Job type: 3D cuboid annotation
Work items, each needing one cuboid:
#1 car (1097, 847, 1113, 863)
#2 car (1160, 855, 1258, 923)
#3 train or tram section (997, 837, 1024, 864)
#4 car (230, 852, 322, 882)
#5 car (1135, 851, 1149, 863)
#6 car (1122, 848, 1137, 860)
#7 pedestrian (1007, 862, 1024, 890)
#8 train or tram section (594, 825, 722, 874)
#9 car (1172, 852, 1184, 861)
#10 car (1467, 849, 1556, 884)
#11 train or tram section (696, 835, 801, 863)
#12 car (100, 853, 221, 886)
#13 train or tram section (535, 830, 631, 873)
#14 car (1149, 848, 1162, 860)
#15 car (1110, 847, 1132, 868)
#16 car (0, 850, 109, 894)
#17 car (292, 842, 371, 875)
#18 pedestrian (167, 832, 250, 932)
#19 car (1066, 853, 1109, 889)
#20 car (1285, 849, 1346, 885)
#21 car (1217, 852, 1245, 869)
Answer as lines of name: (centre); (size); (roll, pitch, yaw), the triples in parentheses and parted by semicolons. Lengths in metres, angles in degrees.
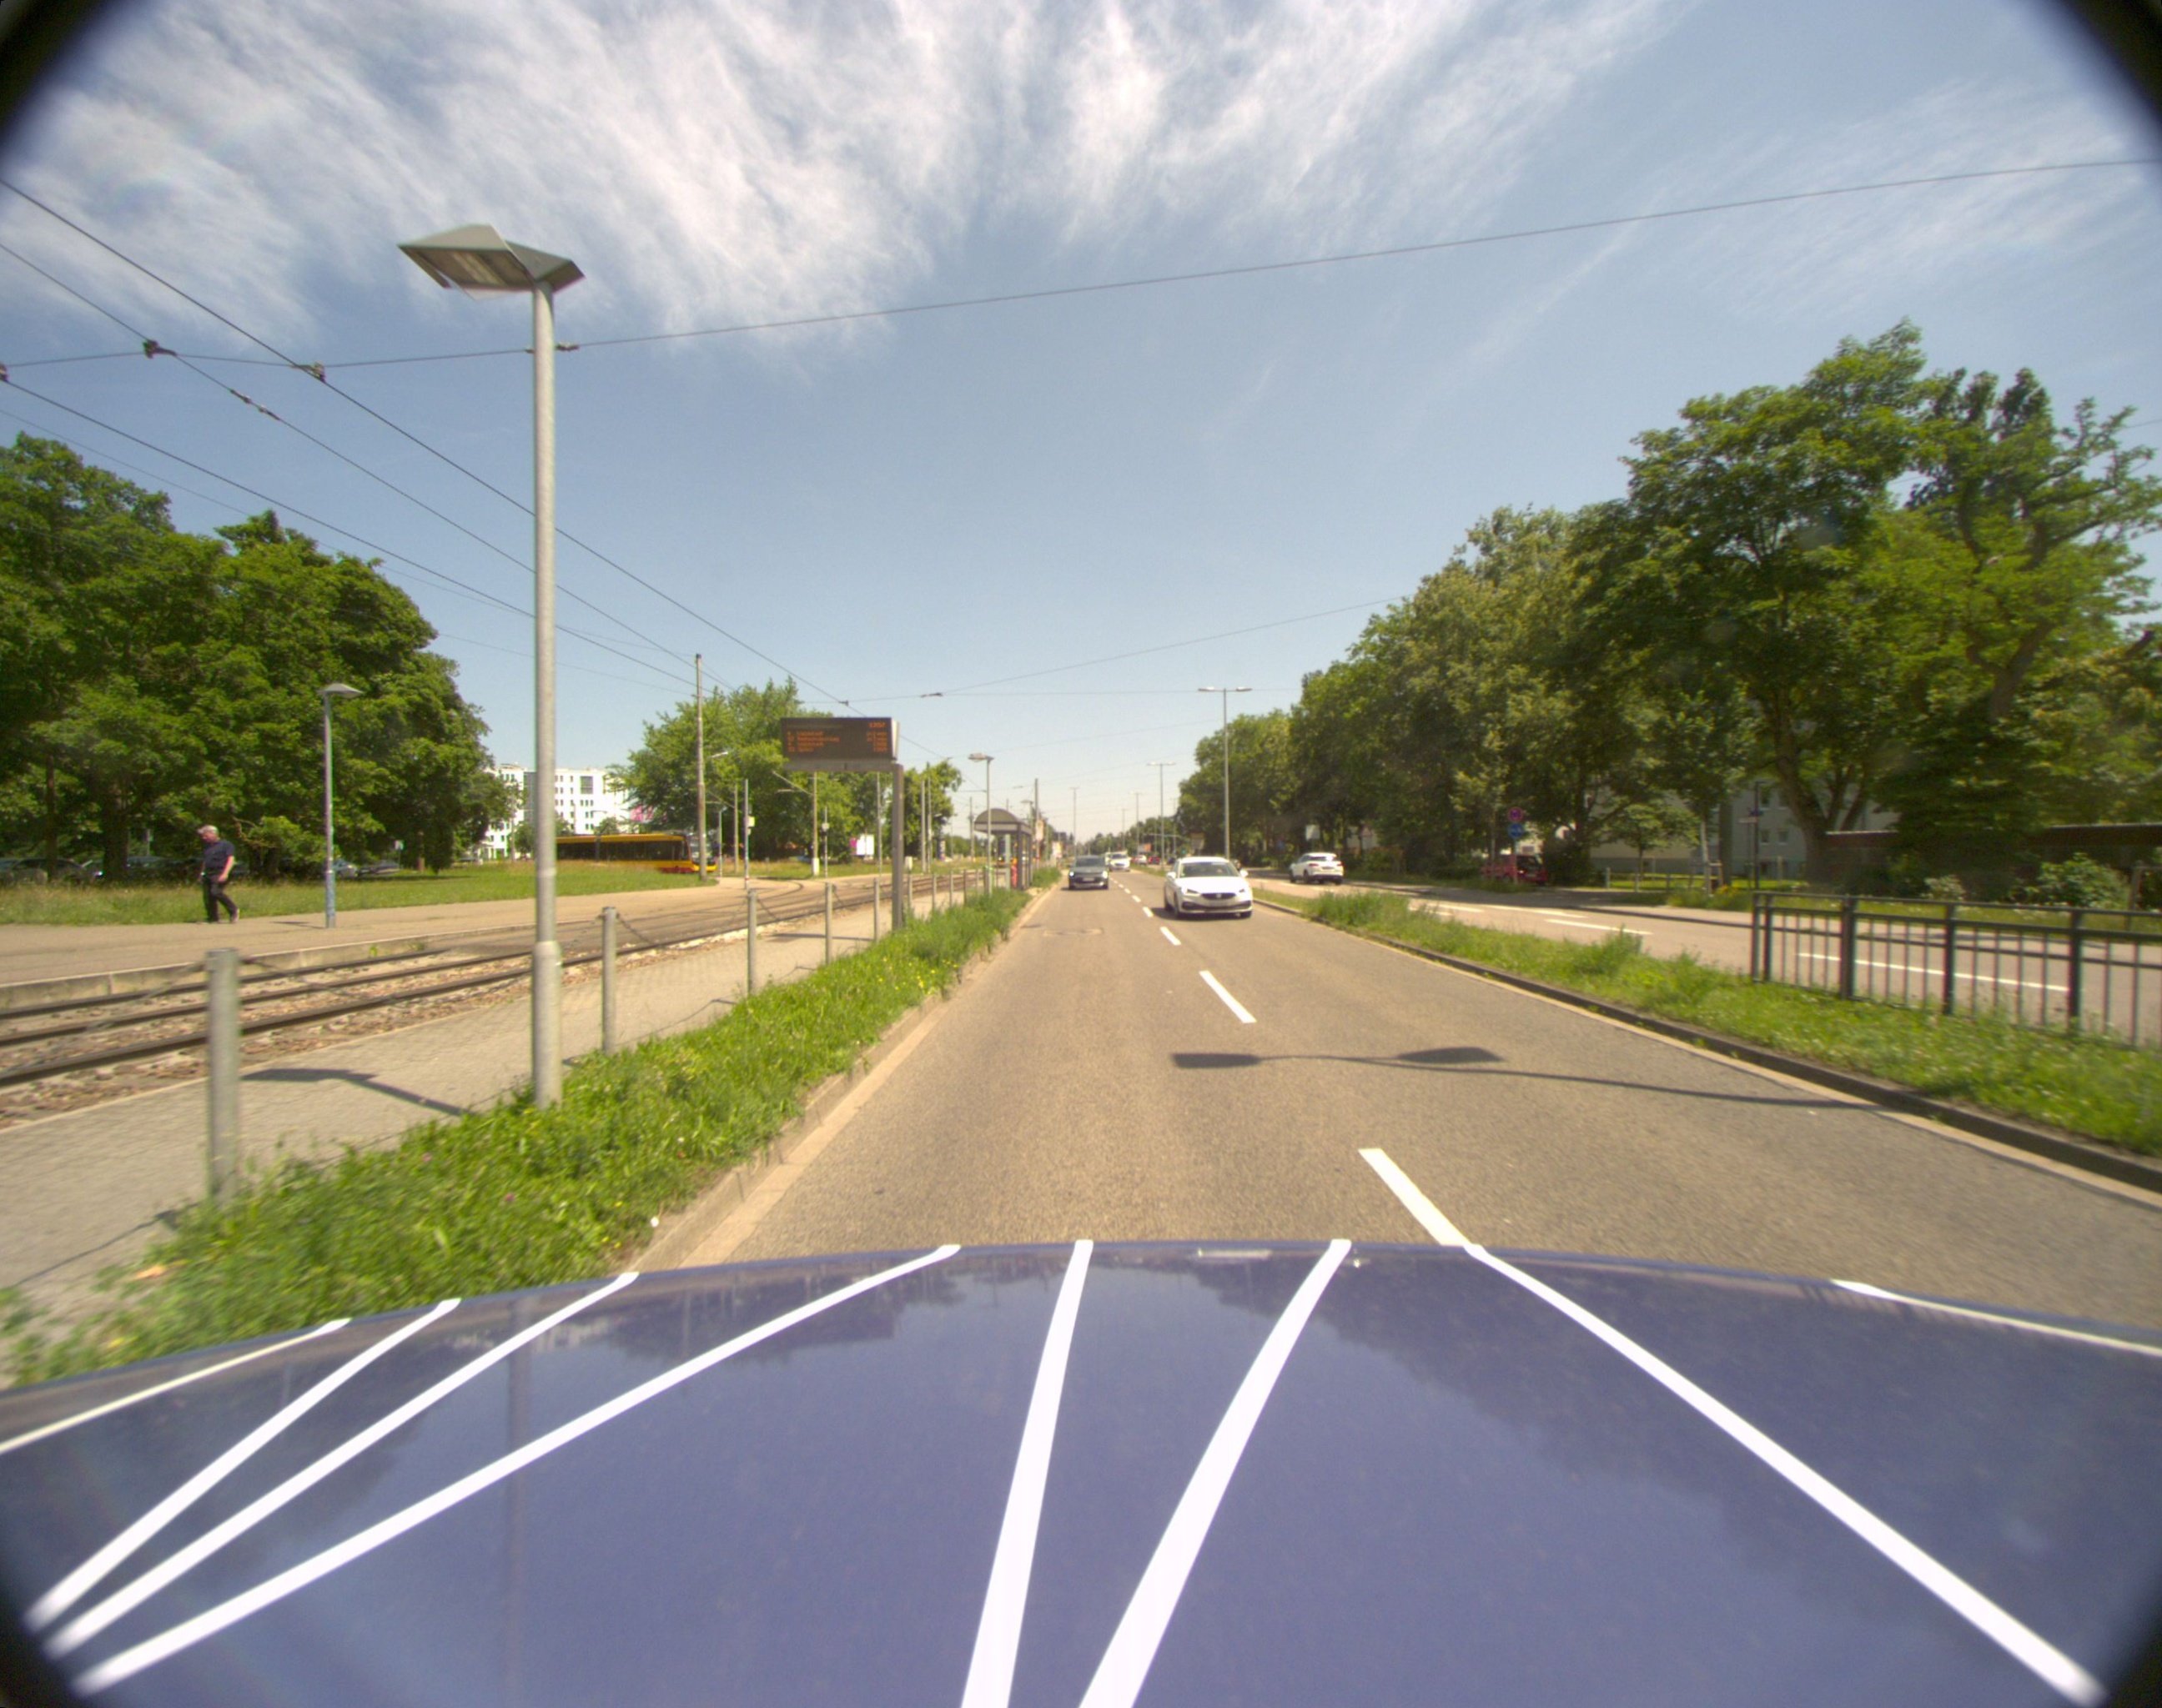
car: (3.059, 0.089, 96.130); (1.921, 2.002, 4.000); (0, 0, 1)
car: (3.106, 0.799, 19.204); (1.772, 1.460, 4.111); (-2, 0, 0)
train or tram section: (-8.817, -0.537, 96.206); (2.524, 3.304, 7.259); (0, 1, 2)
car: (-44.909, 0.674, 42.520); (1.707, 1.530, 4.606); (0, 0, -21)
car: (9.303, 0.465, 115.995); (1.816, 1.631, 3.999); (-2, 1, 1)
car: (7.970, -0.051, 124.874); (1.999, 2.002, 3.999); (0, 0, -2)
pedestrian: (-2.466, 0.816, 28.475); (0.577, 1.034, 0.579); (0, 1, 1)
train or tram section: (-34.544, -0.276, 61.723); (13.150, 3.628, 2.720); (-1, 2, 31)
car: (16.910, 0.430, 133.012); (1.744, 1.499, 4.635); (0, 0, 2)
car: (20.384, 0.550, 36.189); (1.998, 1.576, 4.000); (0, 0, 1)
train or tram section: (-46.988, -0.781, 107.797); (13.275, 3.628, 2.708); (-3, 2, -39)
car: (-43.240, 0.687, 35.832); (1.961, 1.414, 3.937); (0, 0, -21)
train or tram section: (-45.311, -0.139, 68.860); (13.214, 3.628, 2.721); (-1, 2, 36)
car: (12.510, -0.045, 128.519); (1.998, 2.002, 4.001); (0, 0, 3)
car: (3.855, 0.316, 72.993); (1.998, 2.002, 4.000); (0, 1, 3)
car: (-41.181, 0.652, 29.225); (2.126, 1.602, 5.048); (0, 0, -17)
car: (-47.219, 0.258, 47.991); (1.961, 2.002, 4.306); (0, 0, -21)
pedestrian: (-15.670, 0.496, 13.658); (0.707, 1.754, 0.657); (0, 1, 3)
car: (0.370, 0.753, 35.744); (1.787, 1.554, 4.136); (-2, 0, 3)
car: (12.510, 0.653, 40.782); (1.864, 1.748, 4.479); (2, 1, 1)
car: (13.903, 0.562, 70.454); (1.772, 1.545, 4.083); (0, 0, 0)
